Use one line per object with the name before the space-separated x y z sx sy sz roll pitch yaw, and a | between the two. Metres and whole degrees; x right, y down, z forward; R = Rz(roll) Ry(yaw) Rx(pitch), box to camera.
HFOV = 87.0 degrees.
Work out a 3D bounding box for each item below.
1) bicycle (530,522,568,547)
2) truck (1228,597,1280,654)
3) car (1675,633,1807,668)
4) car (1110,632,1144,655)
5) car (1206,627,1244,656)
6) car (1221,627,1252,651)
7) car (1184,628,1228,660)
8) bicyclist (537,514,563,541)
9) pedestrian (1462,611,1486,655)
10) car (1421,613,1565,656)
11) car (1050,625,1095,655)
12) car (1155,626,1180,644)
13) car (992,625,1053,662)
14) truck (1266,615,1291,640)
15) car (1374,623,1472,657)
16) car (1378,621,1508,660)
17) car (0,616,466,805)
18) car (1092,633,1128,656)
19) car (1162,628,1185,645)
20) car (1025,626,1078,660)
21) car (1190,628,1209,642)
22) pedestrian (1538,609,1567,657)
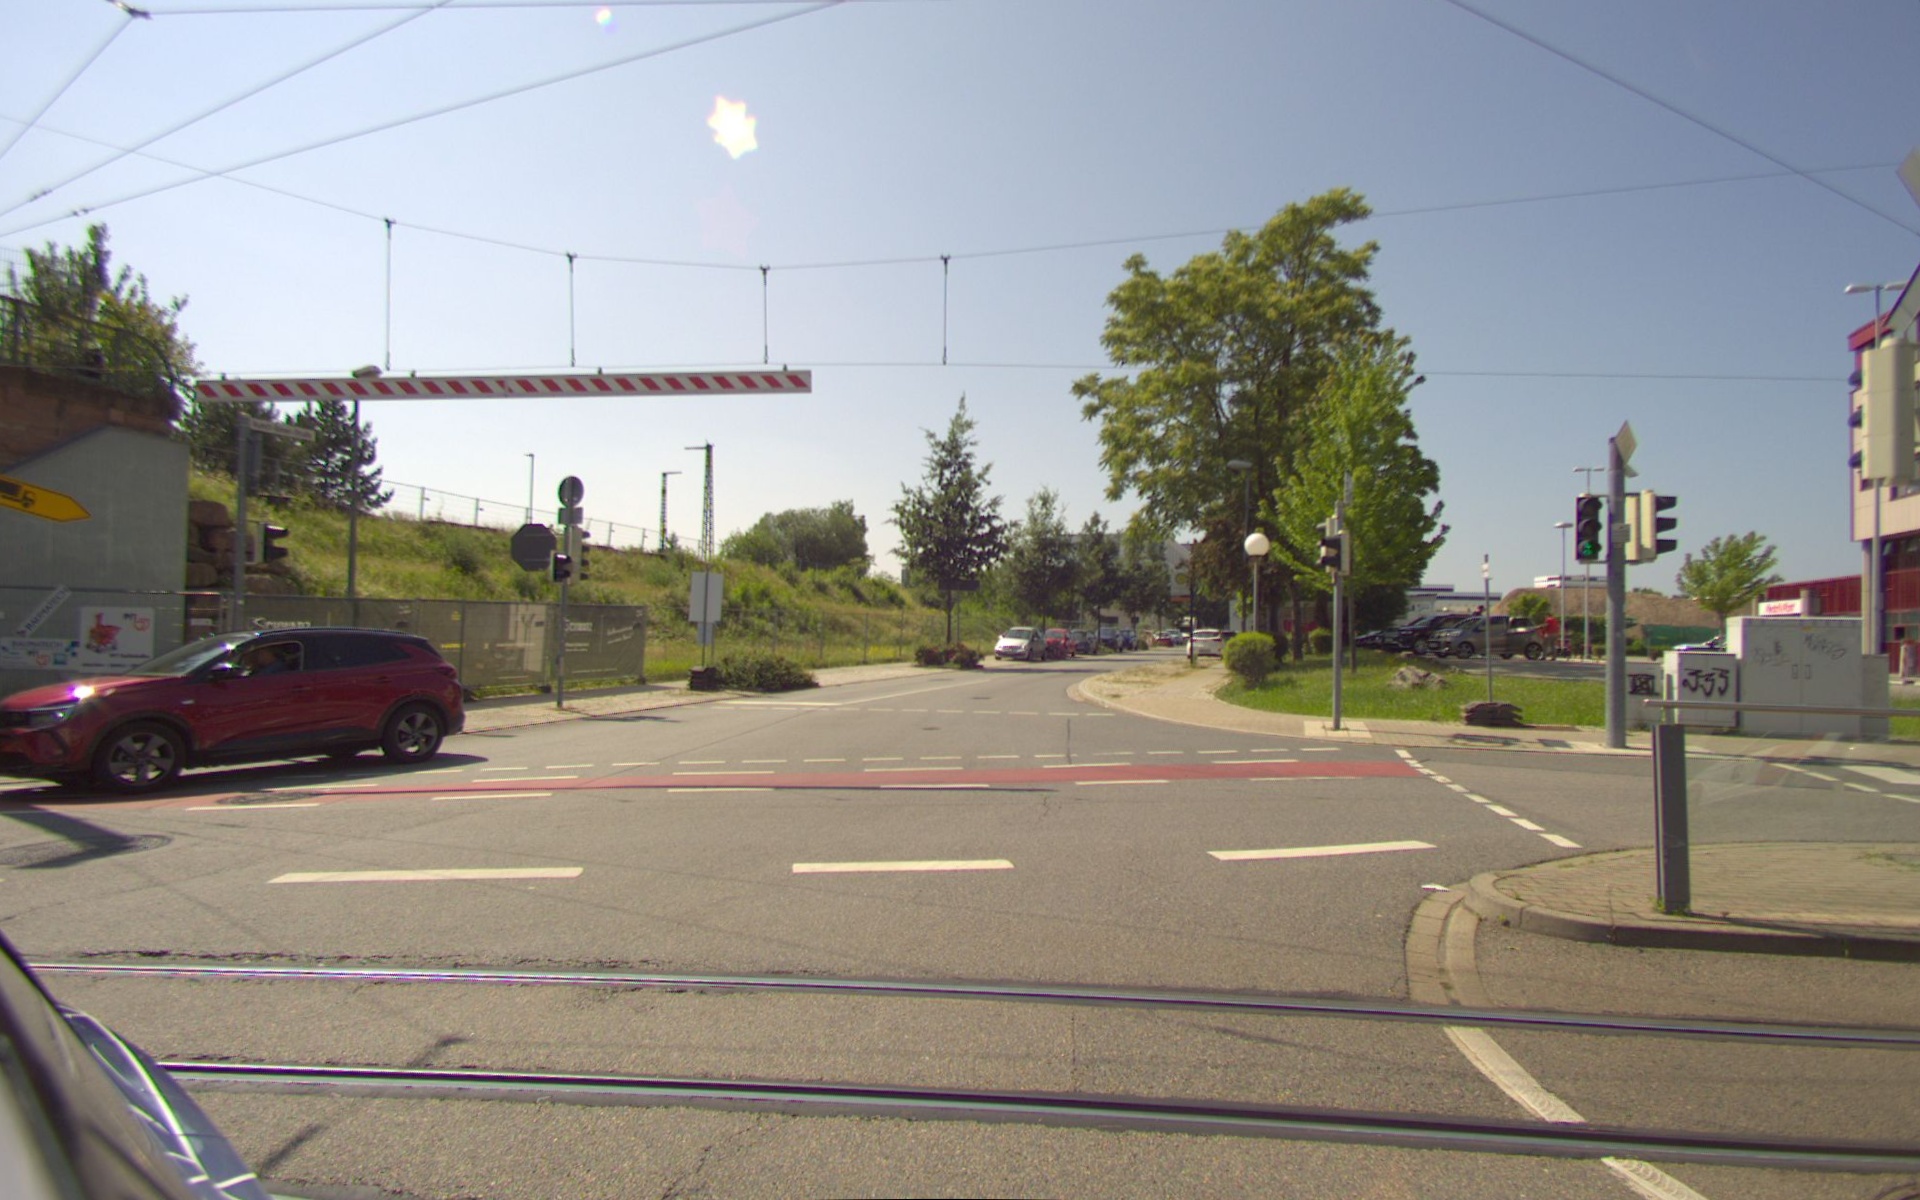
bicycle | -22.977 -3.655 56.595 0.927 1.222 2.167 -1 -2 10
truck | 23.130 2.080 79.338 3.330 4.175 9.216 -2 -3 20
car | 34.237 2.182 44.494 1.693 1.462 4.253 2 -2 -28
car | 12.495 3.237 75.637 1.834 1.628 3.974 2 -2 19
car | 14.790 2.314 56.324 1.801 1.527 3.976 -1 -3 18
car | 18.432 2.619 67.433 1.801 1.527 3.976 -2 -3 18
car | 12.054 2.128 49.499 1.752 1.504 3.976 -2 -2 18
bicyclist | -22.972 -4.068 56.663 0.943 1.399 1.059 -1 -2 10
pedestrian | 18.191 1.163 35.819 0.564 1.539 0.746 -2 -3 41
car | 17.980 1.181 34.255 3.933 1.348 1.719 -1 -2 -1
car | 6.767 2.389 60.567 1.834 1.628 3.974 2 -2 19
car | 19.448 3.286 94.758 1.834 1.628 3.974 1 -2 19
car | 3.111 2.110 49.391 1.834 1.628 4.342 3 -1 19
truck | 43.857 3.866 139.176 2.686 3.345 7.287 -1 -2 22
car | 25.940 2.258 56.714 4.640 1.818 2.004 1 -3 -10
car | 20.269 1.695 42.505 4.736 1.504 1.857 0 -2 -13
car | -7.879 1.037 11.008 1.815 1.616 4.264 -2 -3 29
car | 10.369 3.054 69.725 1.855 1.554 3.975 0 -2 19
car | 21.642 3.668 102.448 1.834 1.628 3.974 1 -2 19
car | 4.880 2.276 53.345 1.834 1.628 3.974 2 -2 19
car | 28.612 4.162 120.921 1.834 1.628 3.974 1 -2 19
pedestrian | 19.272 1.069 32.931 0.744 1.539 0.565 2 -3 -39
